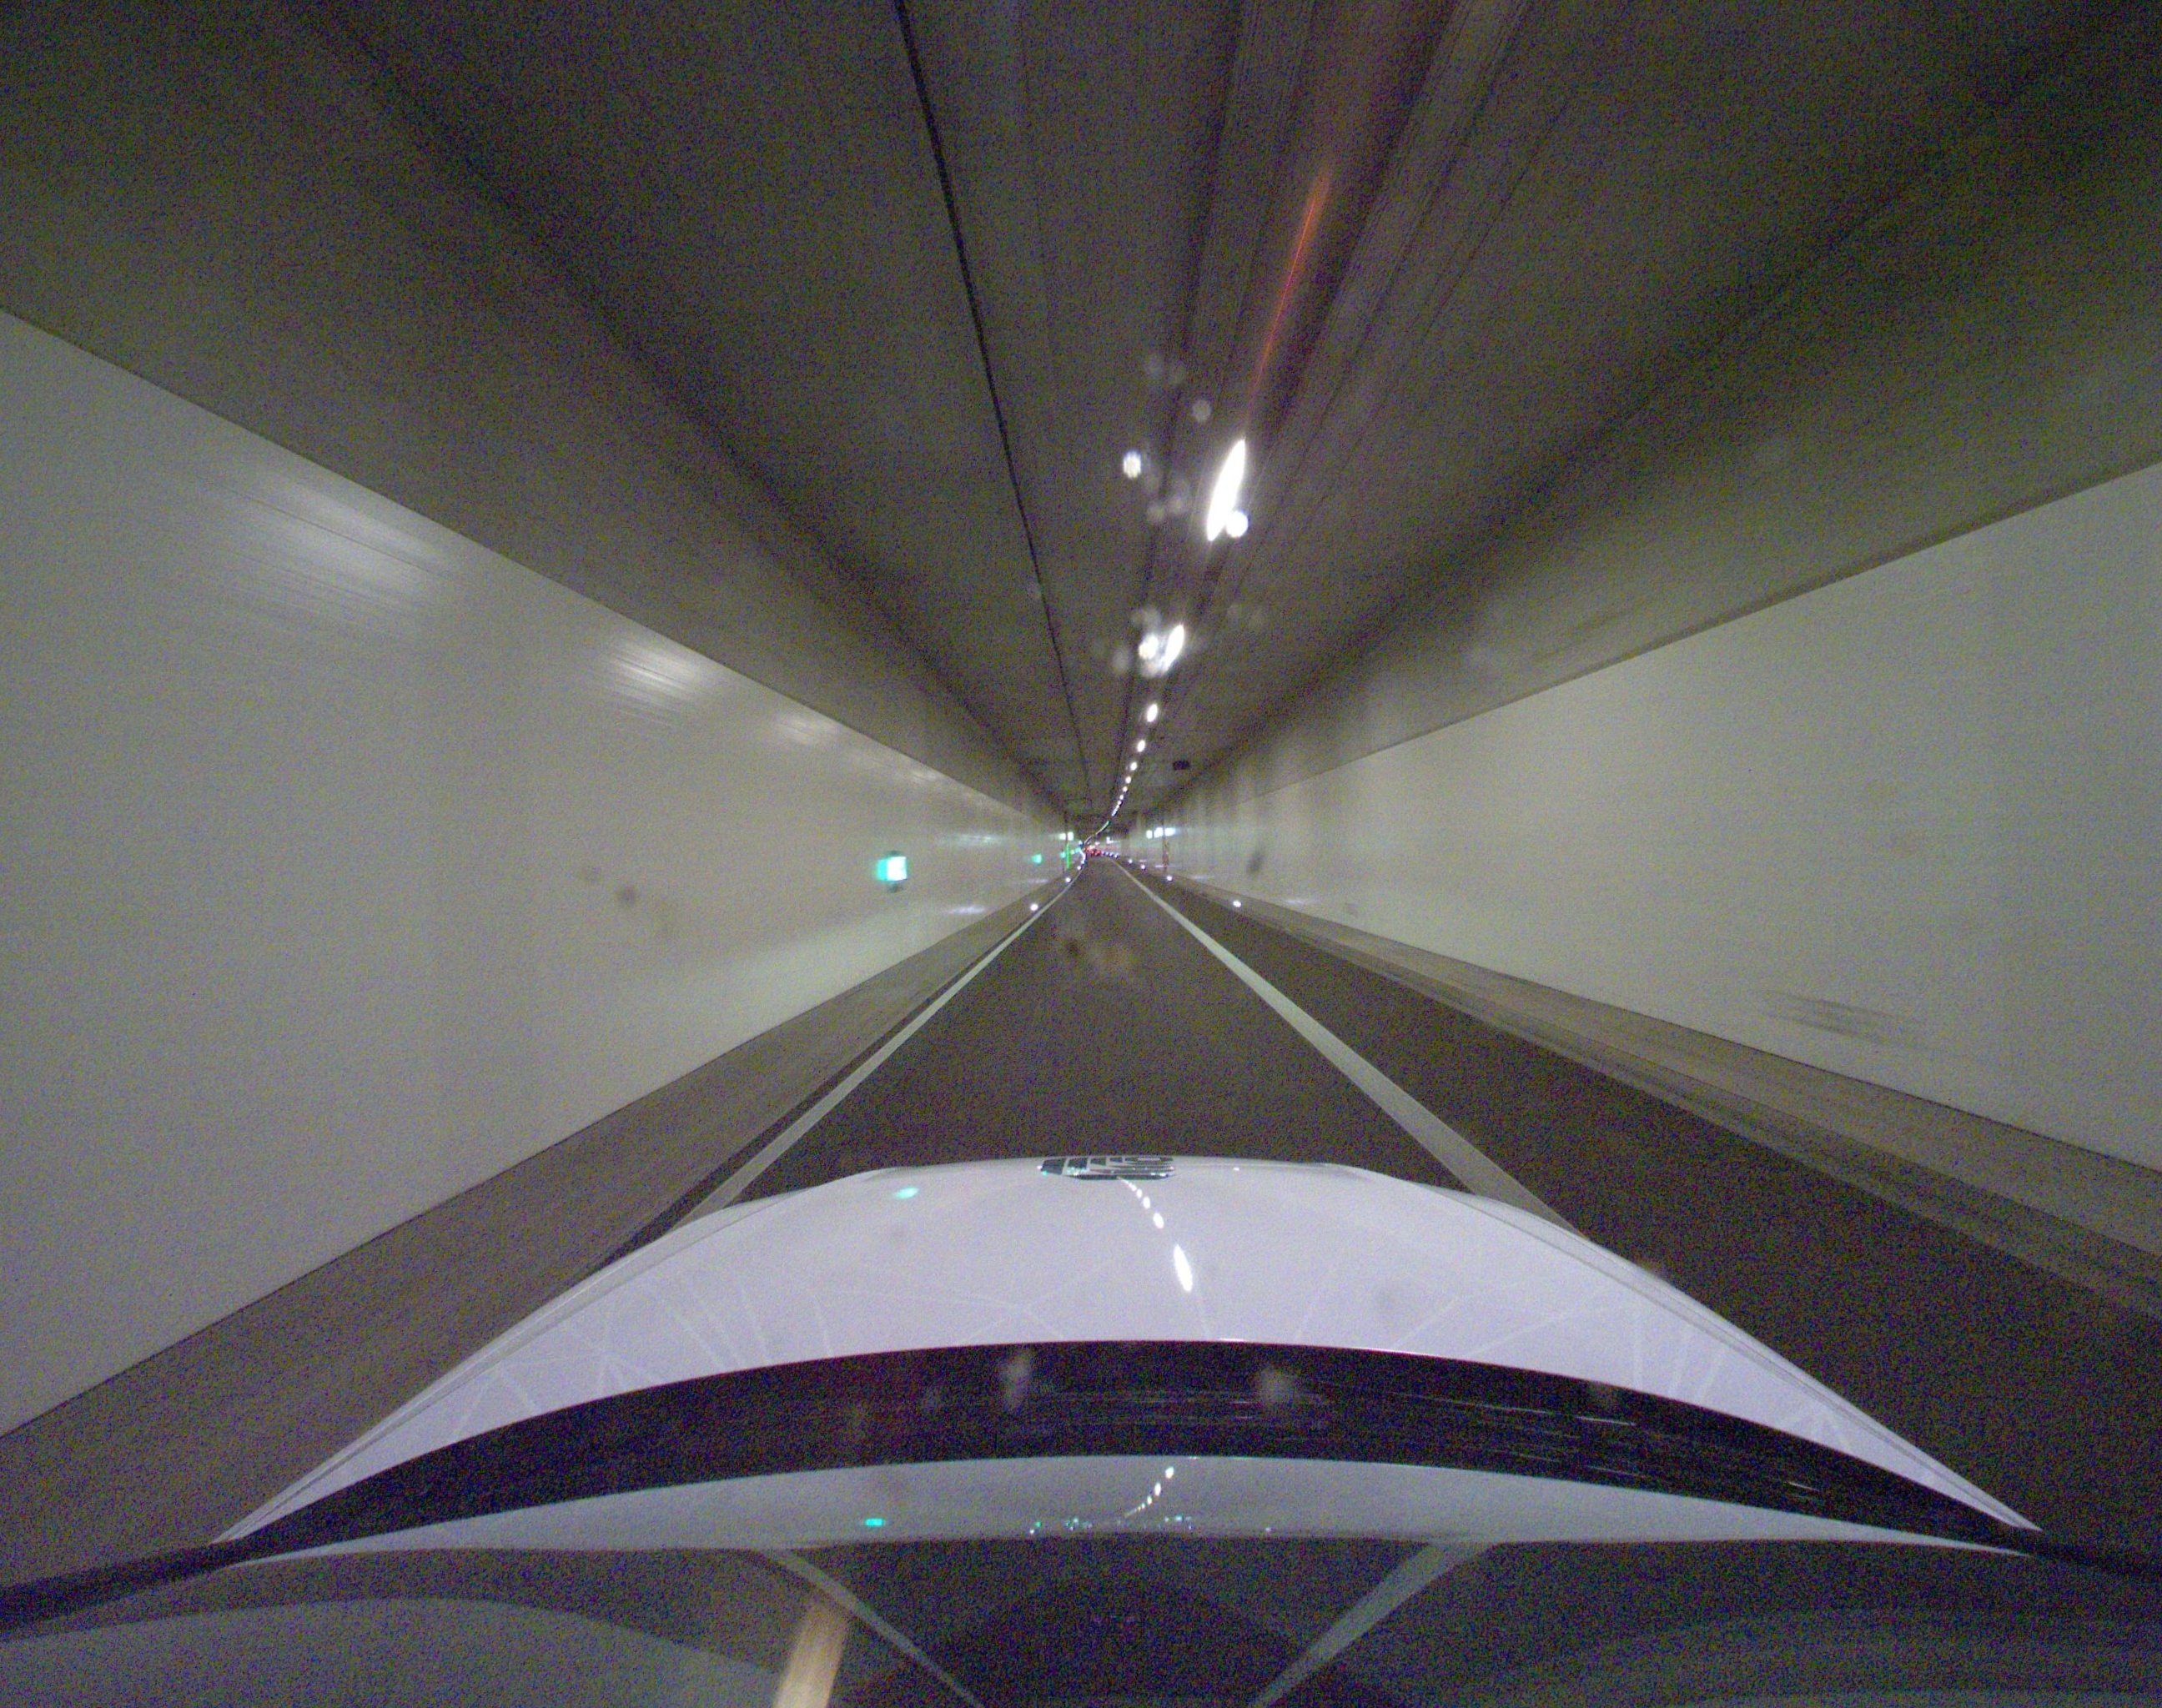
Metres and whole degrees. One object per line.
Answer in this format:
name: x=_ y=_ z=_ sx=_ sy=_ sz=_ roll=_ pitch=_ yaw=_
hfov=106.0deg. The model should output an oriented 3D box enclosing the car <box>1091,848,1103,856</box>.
car: x=2.864 y=-0.367 z=149.777 sx=1.988 sy=1.420 sz=3.999 roll=-4 pitch=0 yaw=-1
